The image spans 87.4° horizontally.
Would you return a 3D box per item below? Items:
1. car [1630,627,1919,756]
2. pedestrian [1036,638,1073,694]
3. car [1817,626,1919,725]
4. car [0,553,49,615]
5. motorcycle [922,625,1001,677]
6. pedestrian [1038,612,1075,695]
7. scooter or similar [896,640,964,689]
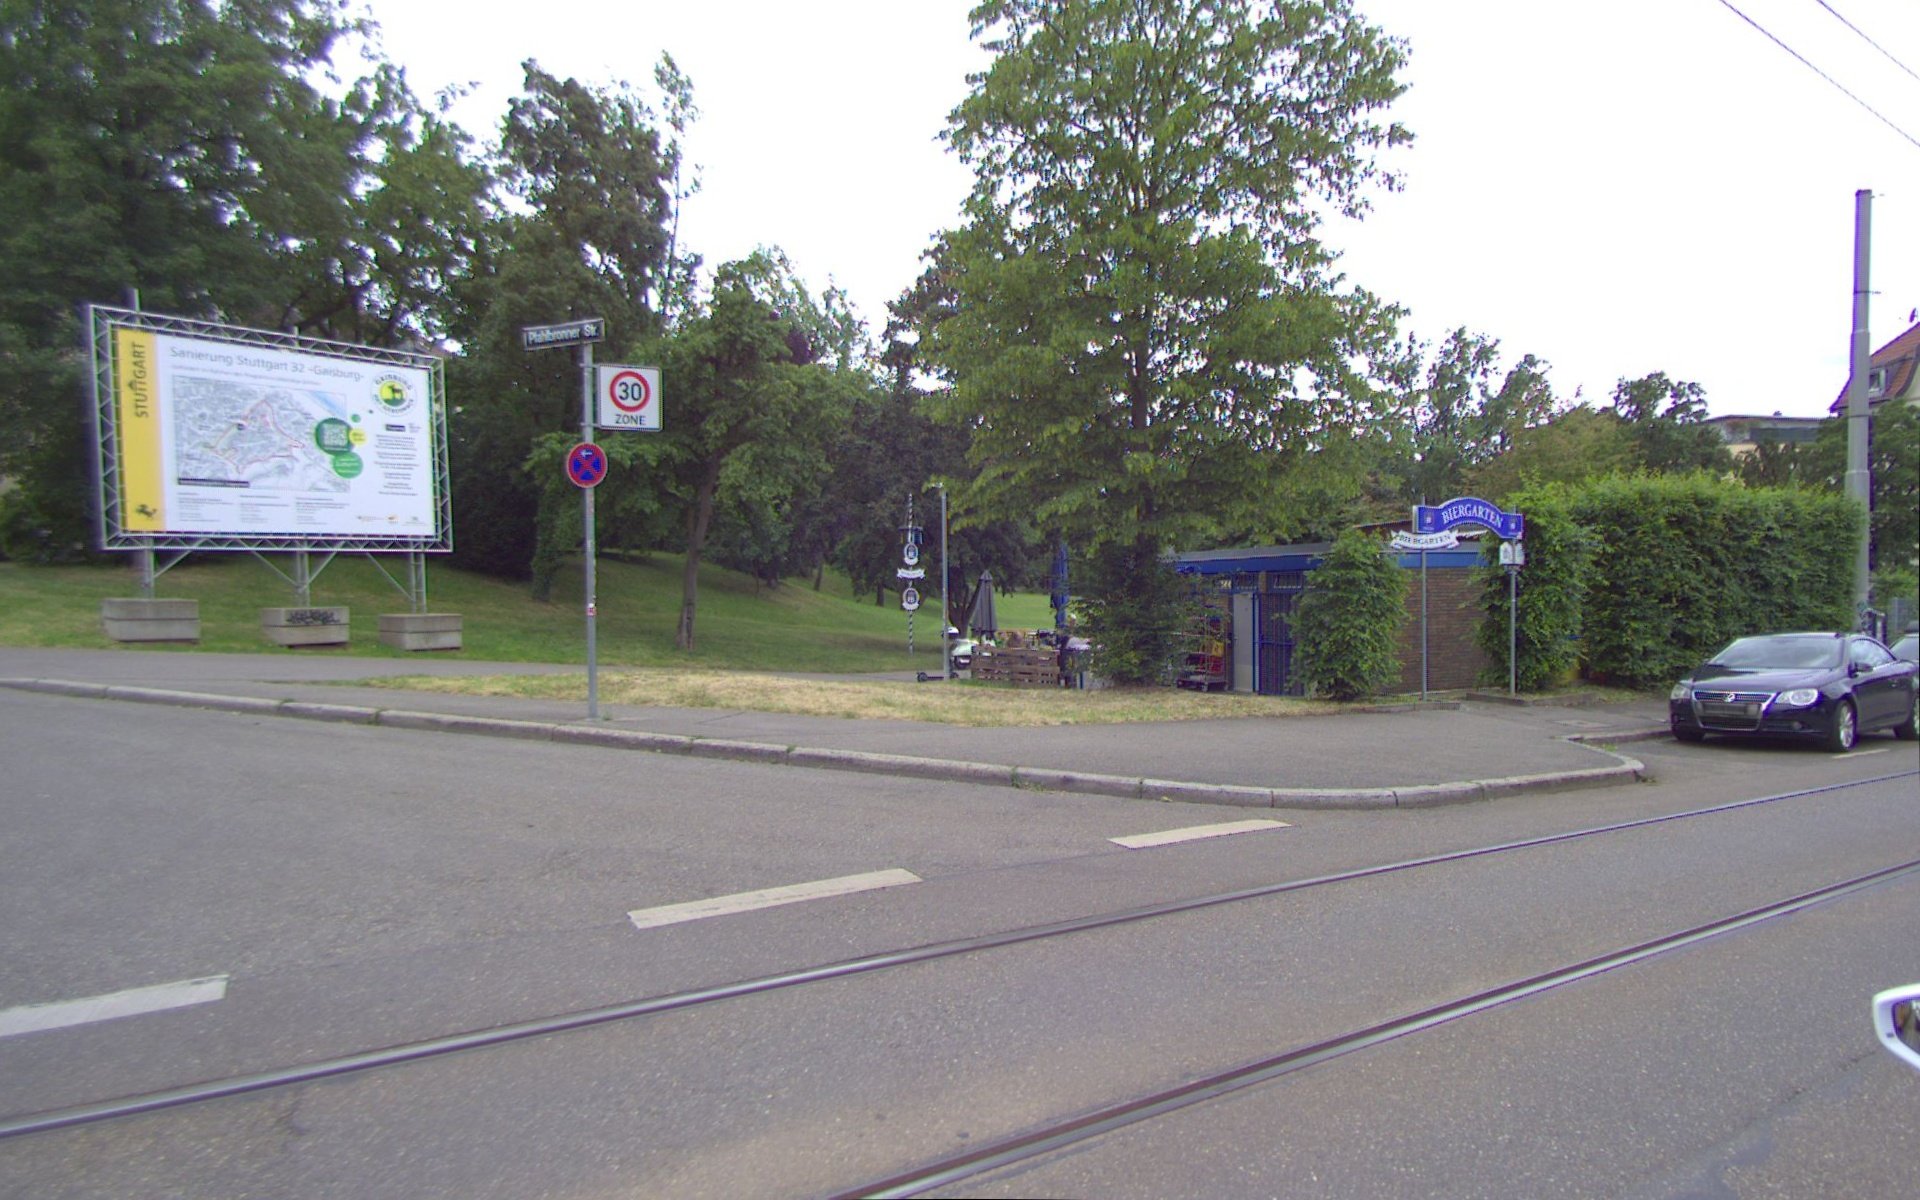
[{"bbox_3d":[10.754,1.121,13.130,4.115,1.423,1.780,2,-1,-32],"label":"car"},{"bbox_3d":[1.917,1.329,20.354,0.652,1.078,0.483,1,0,14],"label":"pedestrian"},{"bbox_3d":[15.579,1.182,15.892,4.391,1.405,1.830,2,-1,-32],"label":"car"},{"bbox_3d":[-27.968,-0.465,27.922,1.812,1.751,3.997,1,0,-5],"label":"car"},{"bbox_3d":[0.049,1.363,27.187,2.244,1.322,0.616,2,0,-40],"label":"motorcycle"},{"bbox_3d":[2.019,1.103,20.951,0.652,1.686,0.622,1,0,14],"label":"pedestrian"},{"bbox_3d":[-0.656,1.403,21.974,1.404,1.032,0.488,2,-1,-31],"label":"scooter or similar"}]
